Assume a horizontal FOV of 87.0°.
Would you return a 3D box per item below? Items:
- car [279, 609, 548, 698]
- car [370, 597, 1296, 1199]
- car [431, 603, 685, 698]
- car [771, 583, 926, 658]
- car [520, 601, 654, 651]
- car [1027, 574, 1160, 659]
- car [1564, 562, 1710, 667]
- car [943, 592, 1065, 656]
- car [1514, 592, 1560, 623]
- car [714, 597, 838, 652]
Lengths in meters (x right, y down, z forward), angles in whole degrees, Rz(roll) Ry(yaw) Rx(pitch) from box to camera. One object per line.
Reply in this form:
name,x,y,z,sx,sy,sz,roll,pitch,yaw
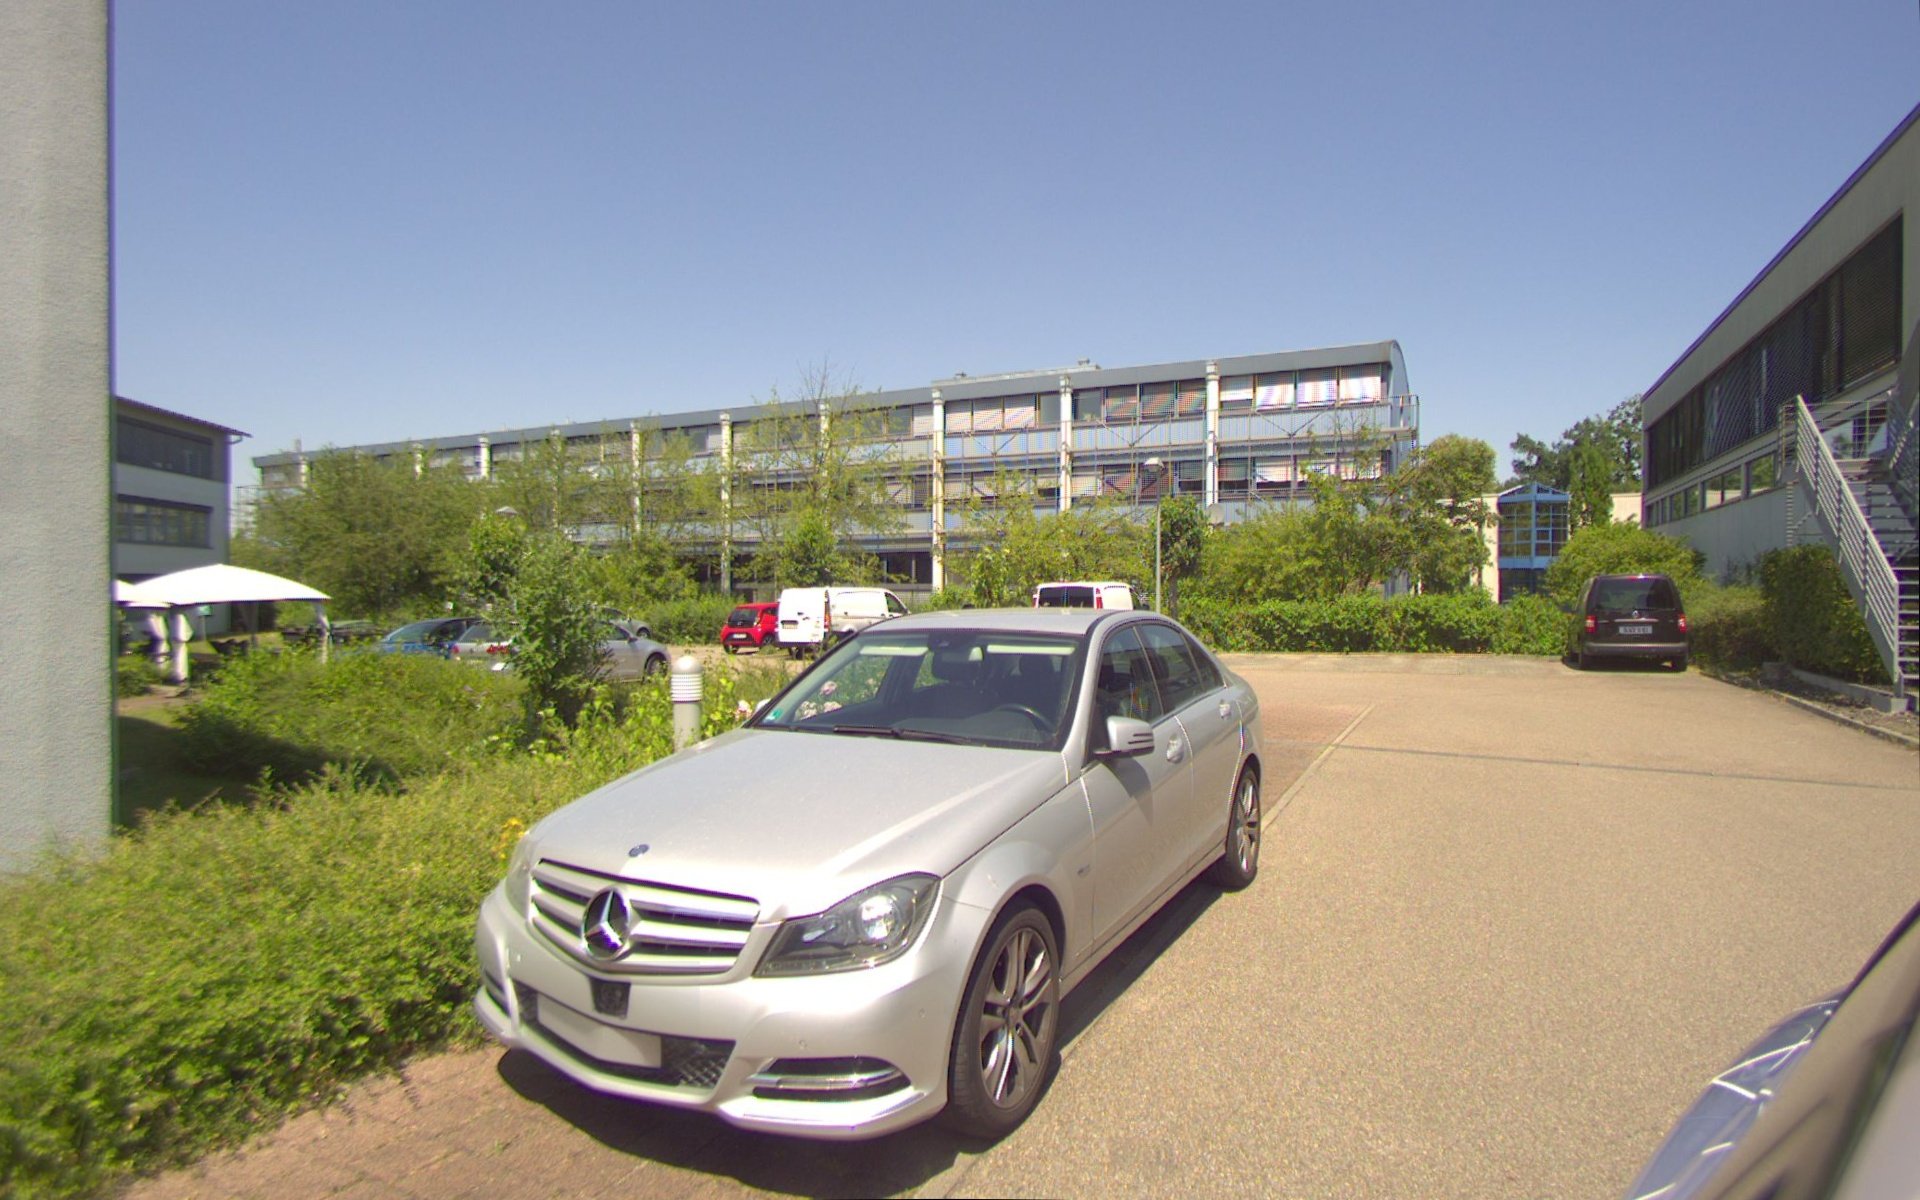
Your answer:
car,-10.769,0.976,20.341,1.838,1.513,4.571,-1,0,26
car,0.101,0.725,4.448,1.790,1.415,4.373,0,1,30
car,-7.423,0.856,19.150,1.838,1.539,4.387,-1,0,26
car,-2.972,0.499,28.231,1.840,1.879,4.887,-1,0,28
car,-12.380,0.828,33.815,1.724,1.502,4.043,-1,0,29
car,3.400,0.348,24.936,1.849,1.883,4.635,-1,0,26
car,13.512,0.245,20.442,1.849,1.883,4.191,-1,0,26
car,1.251,0.581,26.784,1.722,1.502,4.160,-1,0,26
car,33.036,0.396,58.000,1.817,1.586,3.969,-1,2,23
car,-5.496,0.696,30.691,1.610,1.506,3.883,-1,0,28
